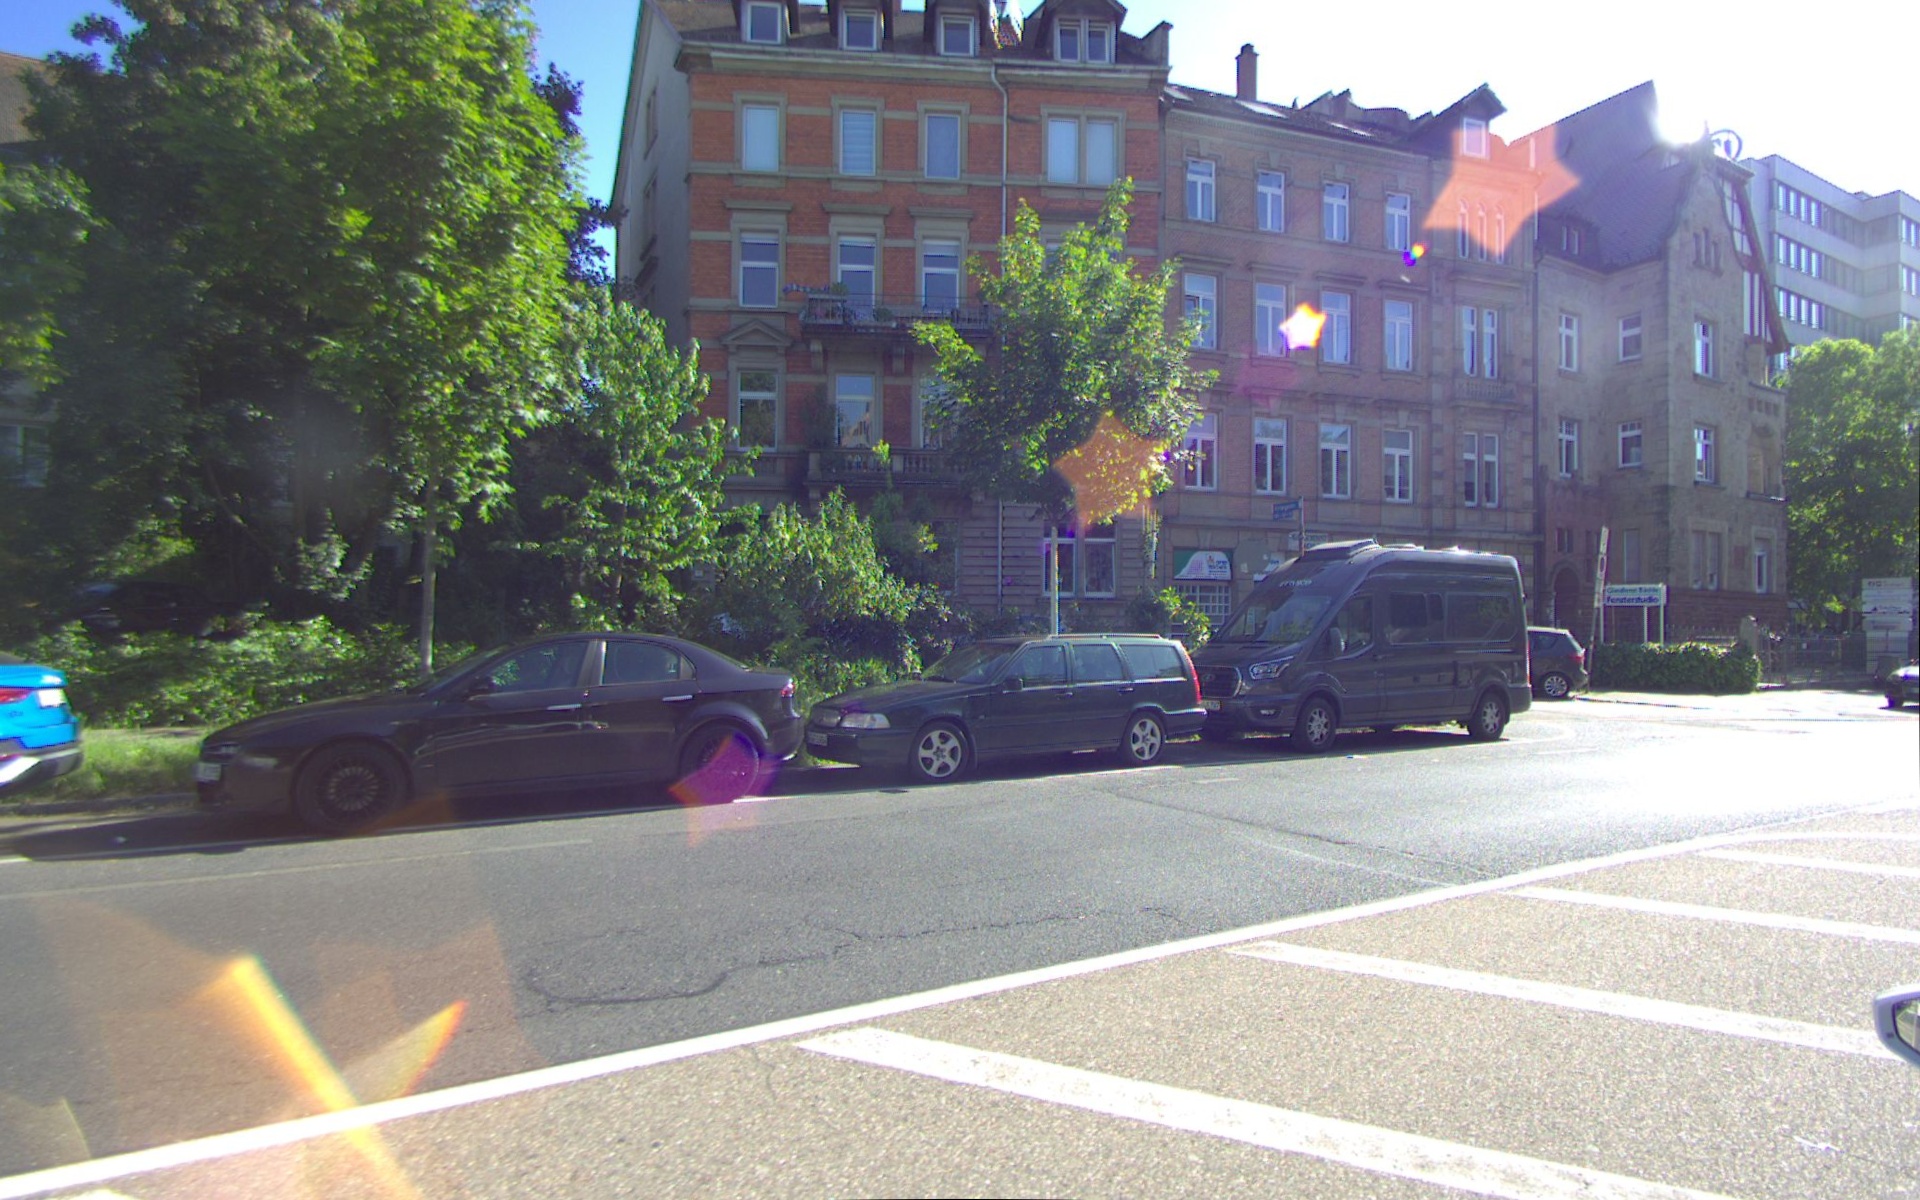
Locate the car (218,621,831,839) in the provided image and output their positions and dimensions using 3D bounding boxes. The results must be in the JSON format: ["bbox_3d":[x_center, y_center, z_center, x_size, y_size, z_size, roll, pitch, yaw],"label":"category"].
[{"bbox_3d":[-3.445,0.953,8.516,4.354,1.431,1.772,2,-3,-30],"label":"car"}]

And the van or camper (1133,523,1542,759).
[{"bbox_3d":[5.510,0.572,14.339,6.017,2.775,2.206,2,-2,-31],"label":"van or camper"}]

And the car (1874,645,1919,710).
[{"bbox_3d":[24.358,1.895,24.359,4.663,1.446,1.847,2,2,-30],"label":"car"}]

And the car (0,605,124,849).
[{"bbox_3d":[-8.349,0.798,6.252,4.502,1.558,1.773,2,-3,-28],"label":"car"}]

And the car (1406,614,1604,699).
[{"bbox_3d":[13.318,1.321,24.776,4.067,1.693,1.997,3,2,27],"label":"car"}]

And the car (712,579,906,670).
[{"bbox_3d":[-3.548,0.625,24.103,4.368,1.938,1.864,2,-3,-6],"label":"car"}]

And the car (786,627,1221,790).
[{"bbox_3d":[0.569,1.078,11.035,4.609,1.475,1.686,2,-3,-31],"label":"car"}]

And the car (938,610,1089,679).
[{"bbox_3d":[1.261,1.112,24.669,3.463,1.532,1.864,2,-3,-6],"label":"car"}]
